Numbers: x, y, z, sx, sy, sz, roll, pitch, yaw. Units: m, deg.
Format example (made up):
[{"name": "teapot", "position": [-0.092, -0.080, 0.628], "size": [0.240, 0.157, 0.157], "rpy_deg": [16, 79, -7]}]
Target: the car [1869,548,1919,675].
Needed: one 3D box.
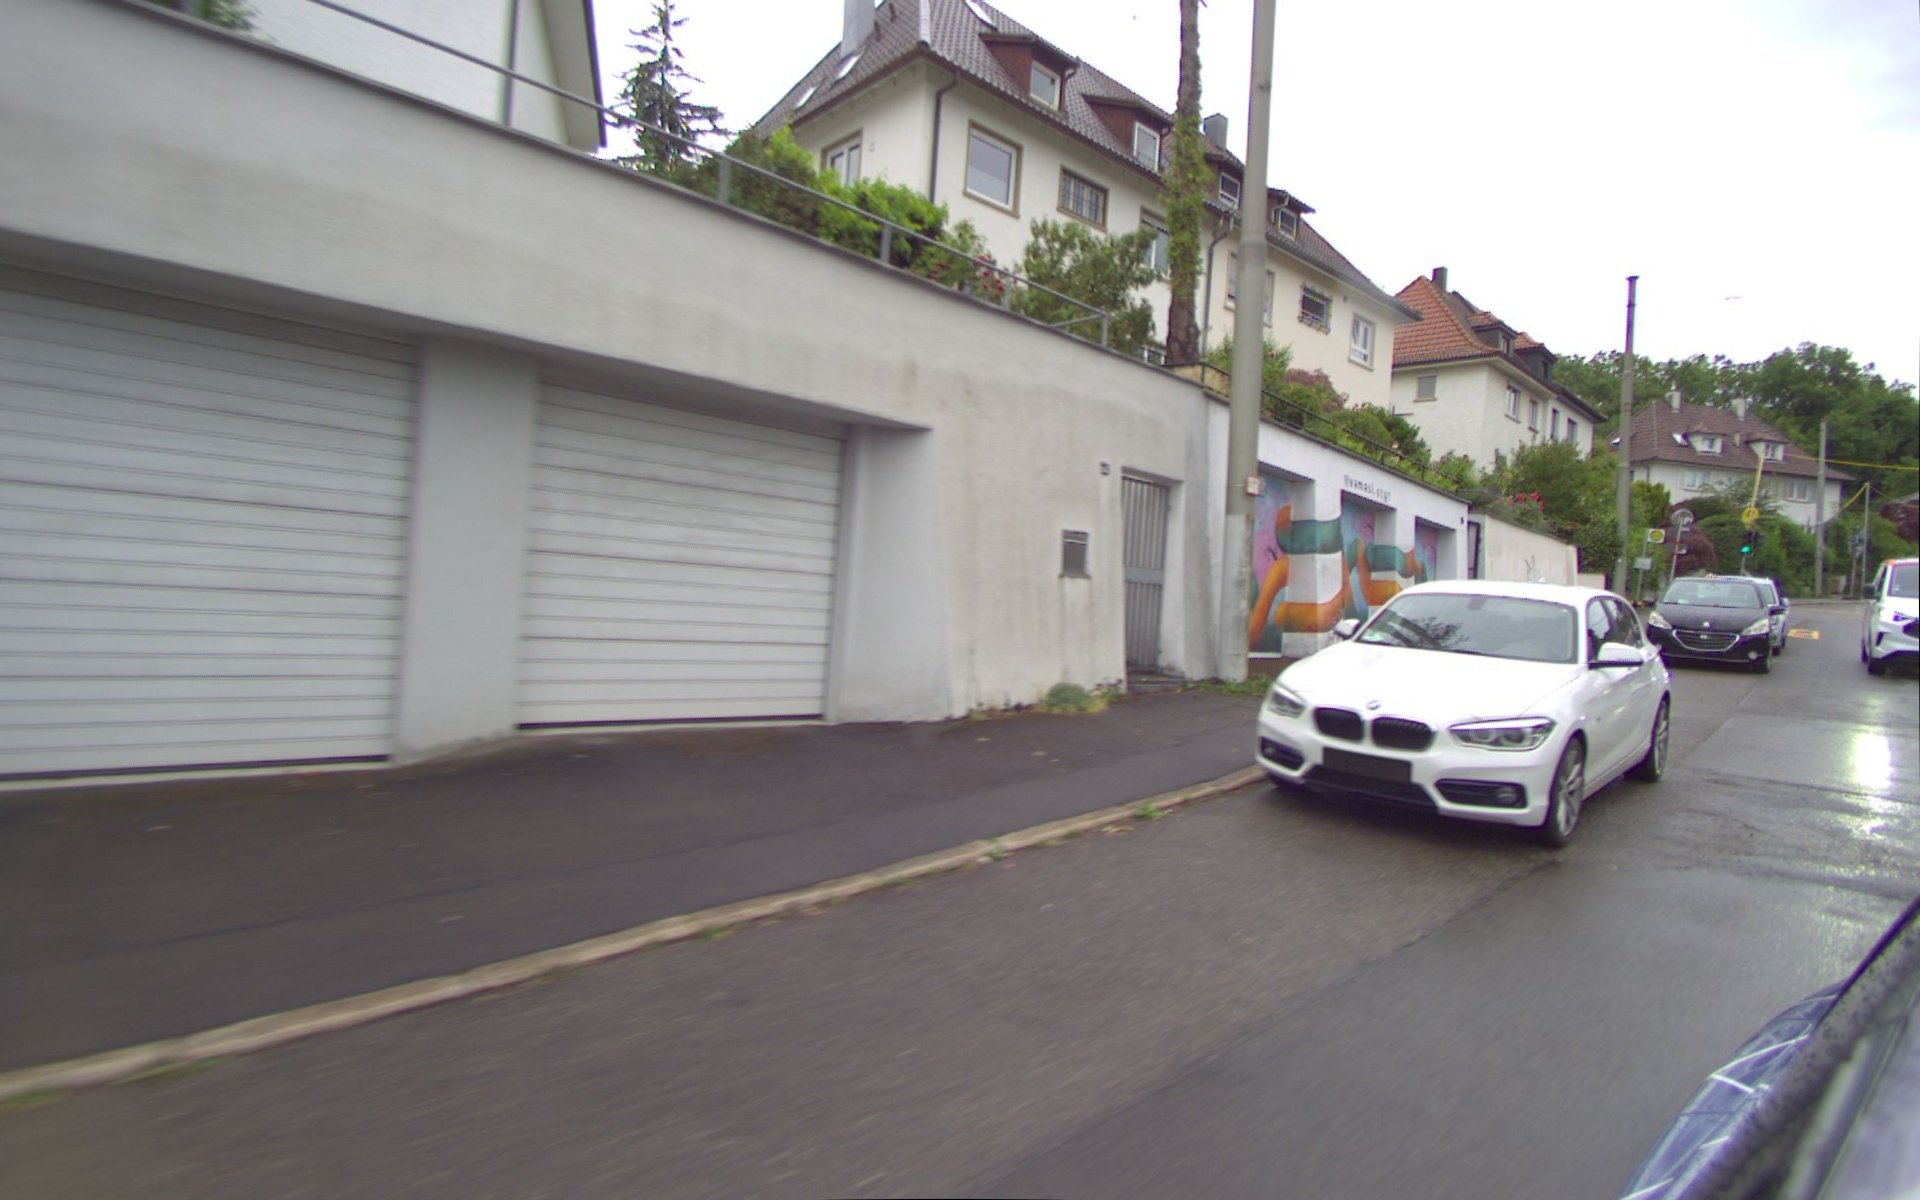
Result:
[{"name": "car", "position": [16.841, 0.193, 17.021], "size": [2.038, 1.962, 4.443], "rpy_deg": [4, 4, 44]}]

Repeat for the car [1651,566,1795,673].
[{"name": "car", "position": [13.060, 0.227, 17.339], "size": [1.711, 1.531, 3.946], "rpy_deg": [5, 4, 38]}]

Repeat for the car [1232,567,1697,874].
[{"name": "car", "position": [3.650, 0.531, 6.950], "size": [1.706, 1.431, 3.978], "rpy_deg": [5, 4, 44]}]

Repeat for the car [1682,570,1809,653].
[{"name": "car", "position": [16.473, 0.151, 21.135], "size": [1.781, 1.437, 4.365], "rpy_deg": [6, 5, 41]}]
